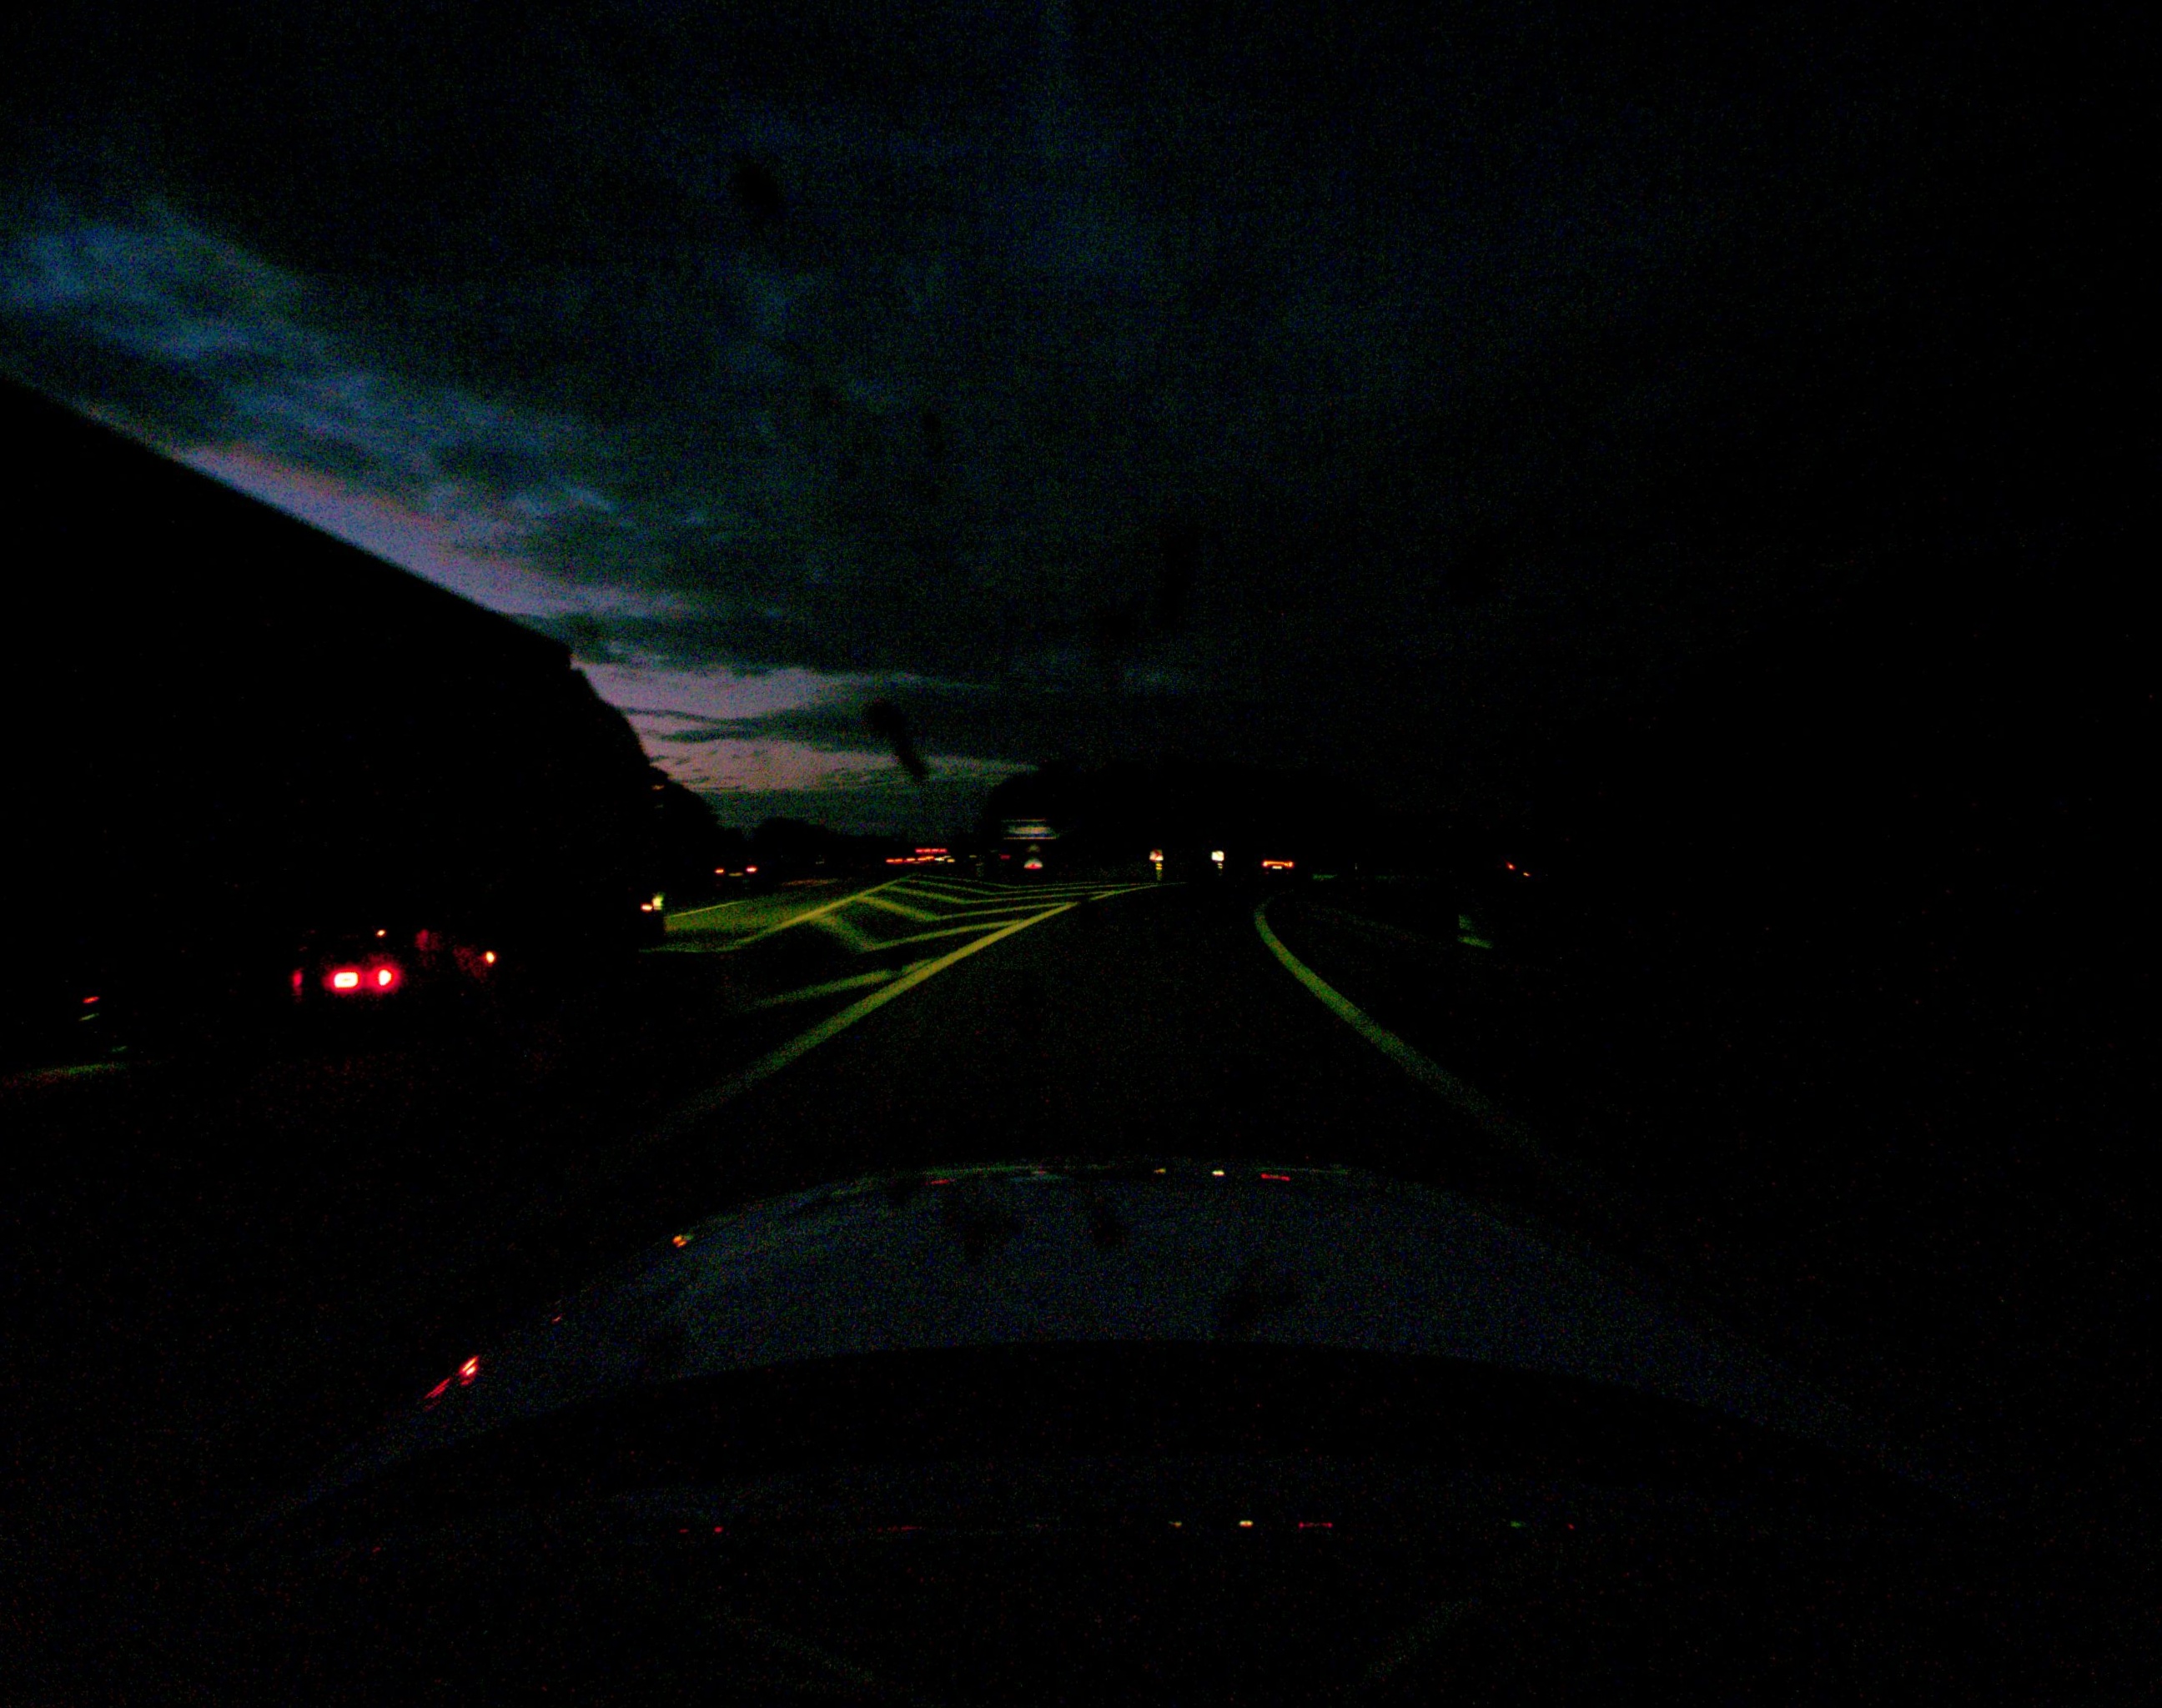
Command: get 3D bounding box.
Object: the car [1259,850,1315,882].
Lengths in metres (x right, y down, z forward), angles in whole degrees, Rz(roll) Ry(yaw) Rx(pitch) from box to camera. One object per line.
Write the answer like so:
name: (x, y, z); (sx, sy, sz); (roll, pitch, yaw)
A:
car: (11.628, 0.676, 45.740); (1.974, 1.659, 4.341); (-2, -2, 29)

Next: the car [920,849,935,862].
car: (-25.770, 0.306, 136.881); (1.990, 2.013, 3.994); (-2, 1, -5)

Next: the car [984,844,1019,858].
car: (-11.940, -0.502, 122.100); (5.079, 2.013, 2.283); (1, 1, 36)

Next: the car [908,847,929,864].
car: (-19.831, 0.133, 99.545); (1.991, 2.013, 3.993); (-2, 1, -5)

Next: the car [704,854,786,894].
car: (-14.320, 0.794, 34.973); (1.991, 1.498, 4.540); (-2, 1, -6)

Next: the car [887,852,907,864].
car: (-26.658, 0.576, 117.941); (1.988, 1.642, 4.552); (-2, 1, -2)

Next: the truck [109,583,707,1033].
truck: (-7.307, -0.482, 10.294); (2.776, 3.901, 6.140); (-2, 1, -7)

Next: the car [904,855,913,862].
car: (-49.375, 1.293, 232.976); (2.109, 2.013, 3.979); (-3, 1, -15)

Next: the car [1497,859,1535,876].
car: (43.245, 1.362, 81.007); (4.020, 1.598, 1.977); (0, 1, -40)

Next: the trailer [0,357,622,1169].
trailer: (-6.460, -0.403, 2.780); (2.771, 3.915, 14.787); (-2, 1, -6)
